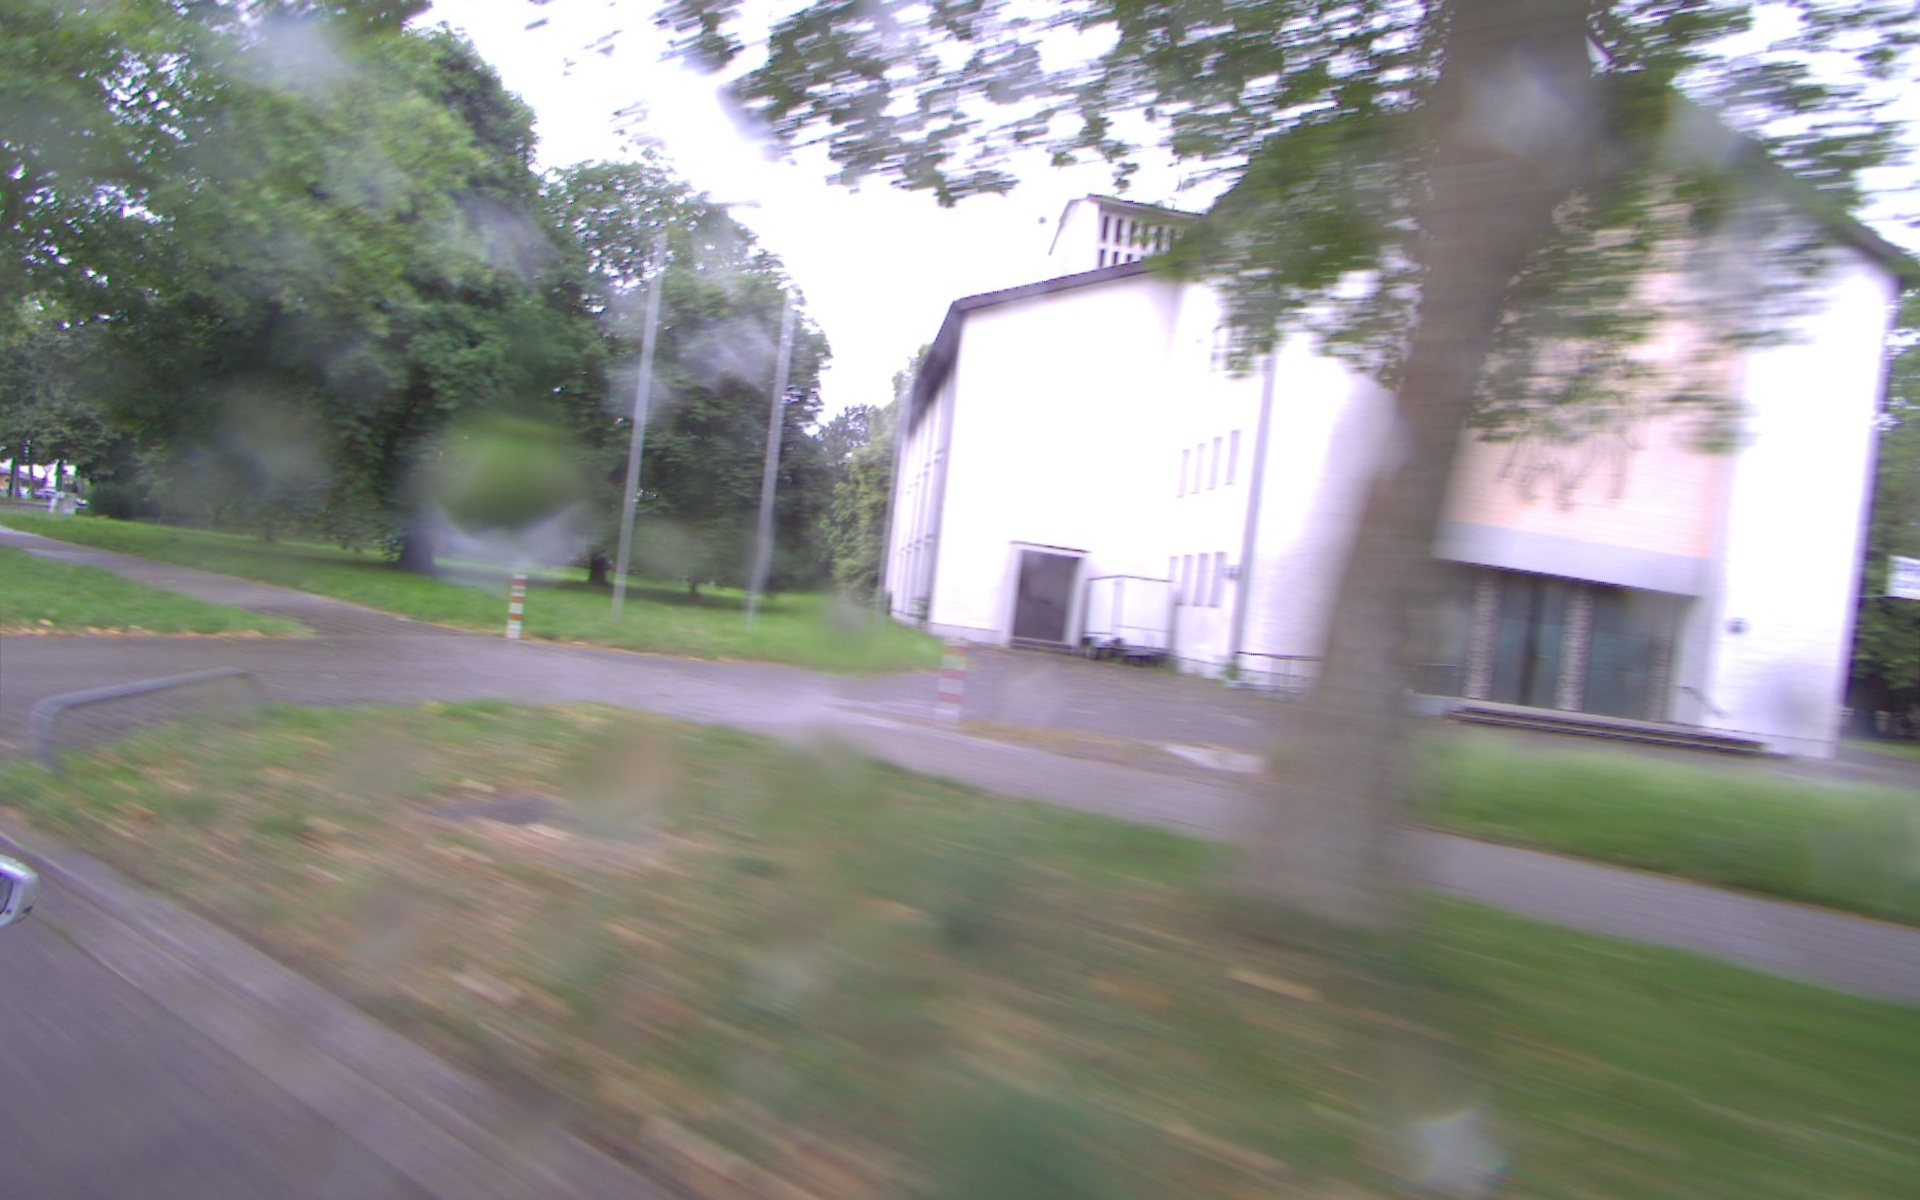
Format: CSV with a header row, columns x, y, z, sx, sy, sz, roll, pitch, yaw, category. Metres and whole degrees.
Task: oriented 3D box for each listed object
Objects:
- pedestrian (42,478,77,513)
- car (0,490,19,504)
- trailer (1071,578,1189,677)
x,y,z,sx,sy,sz,roll,pitch,yaw,category
-48.622,-5.627,54.344,1.019,1.716,0.851,6,1,-17,pedestrian
-126.256,-13.687,131.974,3.717,1.460,1.750,7,0,-27,car
4.582,0.671,27.743,1.859,2.337,4.014,6,0,-8,trailer
